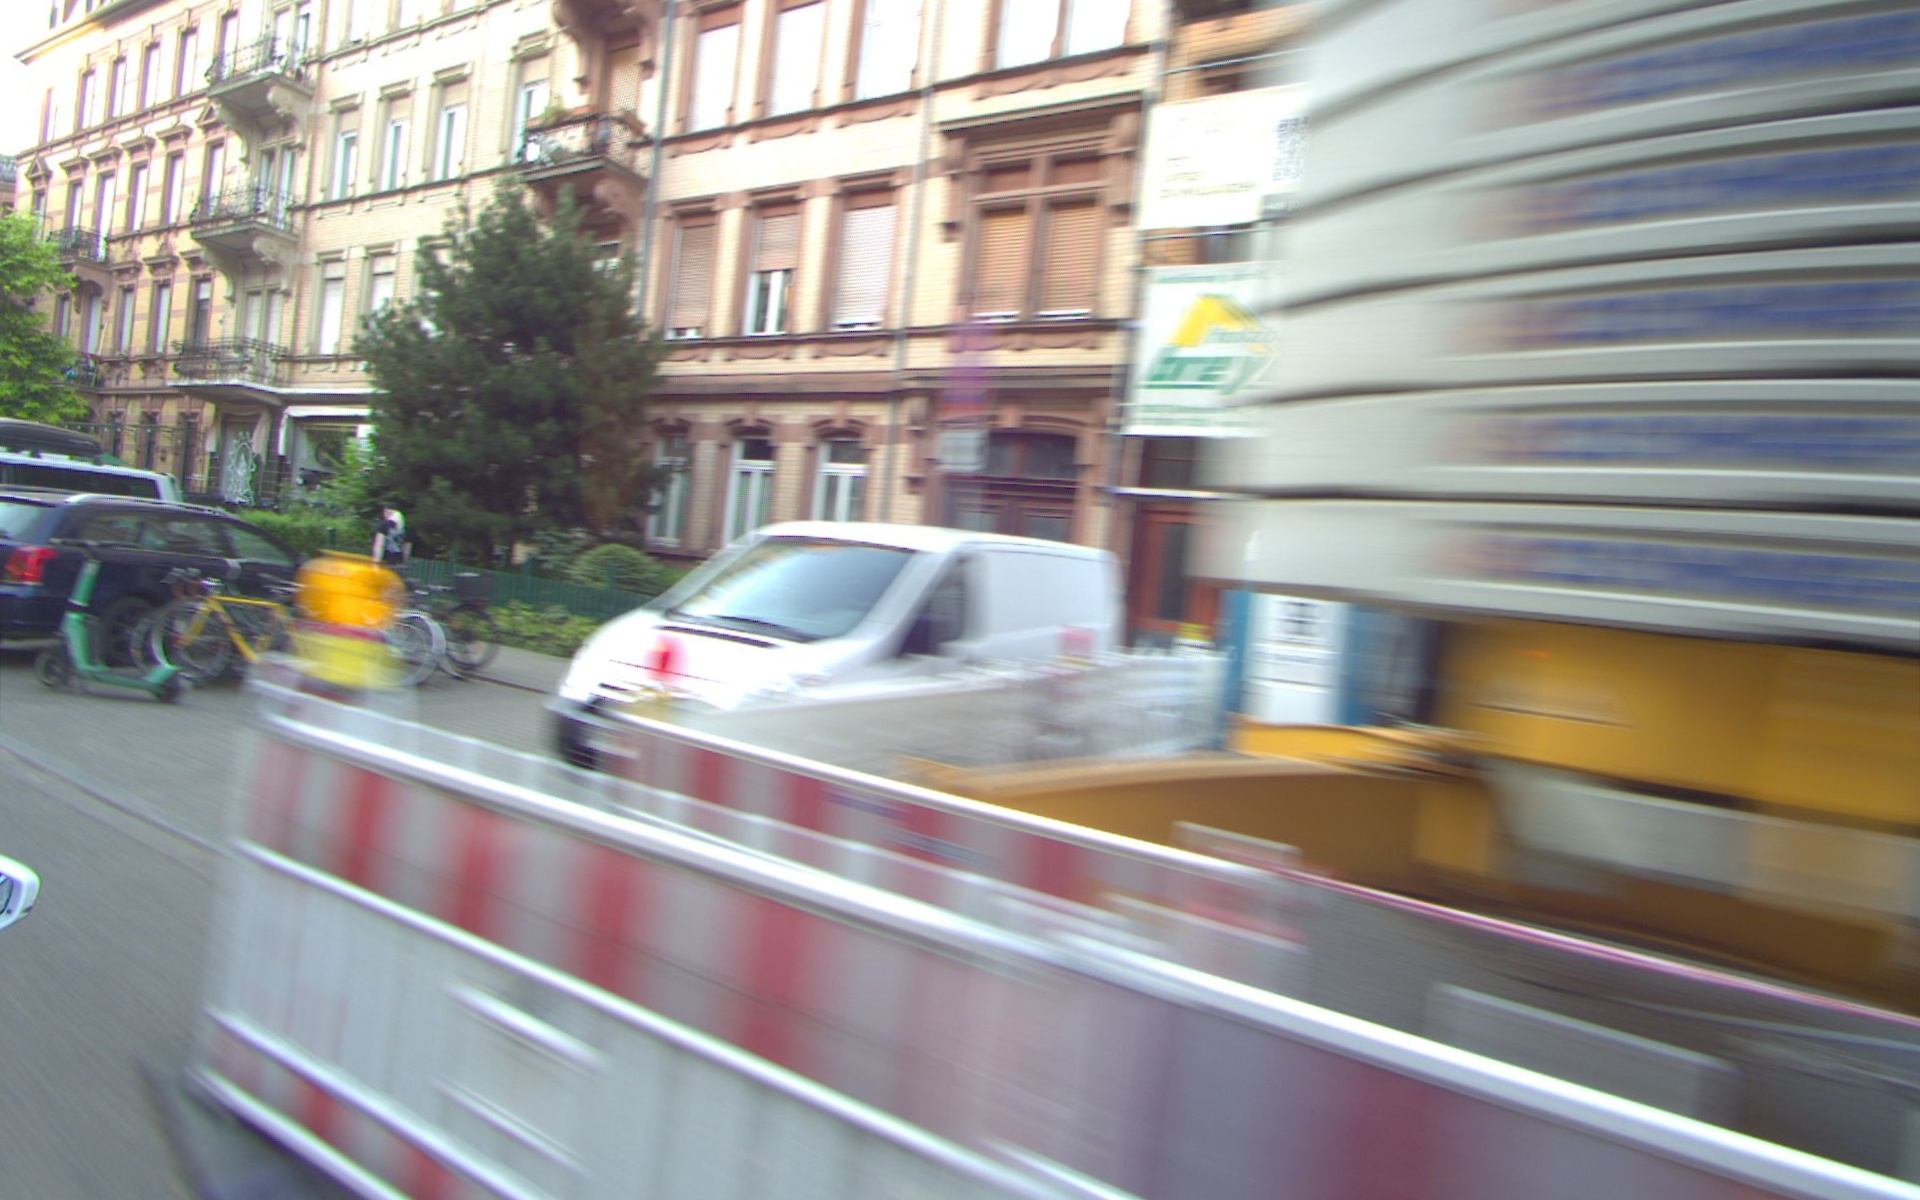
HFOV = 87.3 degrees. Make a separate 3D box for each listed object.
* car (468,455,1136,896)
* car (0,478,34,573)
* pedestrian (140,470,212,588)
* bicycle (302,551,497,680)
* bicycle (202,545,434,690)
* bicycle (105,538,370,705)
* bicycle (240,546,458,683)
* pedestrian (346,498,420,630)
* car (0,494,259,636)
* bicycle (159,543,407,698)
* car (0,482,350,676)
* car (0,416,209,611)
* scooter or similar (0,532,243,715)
[{"bbox_3d":[-0.586,0.369,7.382,1.867,1.982,5.176,8,2,30],"label":"car"},{"bbox_3d":[-17.455,-1.326,15.809,1.851,1.612,4.162,7,2,0],"label":"car"},{"bbox_3d":[-14.356,-1.300,18.434,0.644,2.037,0.625,6,-1,24],"label":"pedestrian"},{"bbox_3d":[-6.045,0.159,10.878,1.780,1.151,0.496,7,3,3],"label":"bicycle"},{"bbox_3d":[-6.135,0.162,9.664,1.782,1.151,0.496,7,3,-4],"label":"bicycle"},{"bbox_3d":[-6.044,0.171,8.458,1.781,1.151,0.496,7,3,-1],"label":"bicycle"},{"bbox_3d":[-6.174,0.143,10.208,1.782,1.151,0.496,7,3,-4],"label":"bicycle"},{"bbox_3d":[-8.168,-0.511,14.241,0.681,1.773,0.817,3,3,-42],"label":"pedestrian"},{"bbox_3d":[-10.548,-0.443,11.952,1.726,1.426,3.865,6,0,-2],"label":"car"},{"bbox_3d":[-6.084,0.179,9.089,1.782,1.151,0.496,7,3,-4],"label":"bicycle"},{"bbox_3d":[-8.303,-0.252,9.962,1.813,1.535,3.868,7,0,5],"label":"car"},{"bbox_3d":[-12.773,-1.167,13.001,1.962,2.392,4.939,7,0,5],"label":"car"},{"bbox_3d":[-6.419,0.160,7.637,1.456,1.166,0.656,7,2,7],"label":"scooter or similar"}]
